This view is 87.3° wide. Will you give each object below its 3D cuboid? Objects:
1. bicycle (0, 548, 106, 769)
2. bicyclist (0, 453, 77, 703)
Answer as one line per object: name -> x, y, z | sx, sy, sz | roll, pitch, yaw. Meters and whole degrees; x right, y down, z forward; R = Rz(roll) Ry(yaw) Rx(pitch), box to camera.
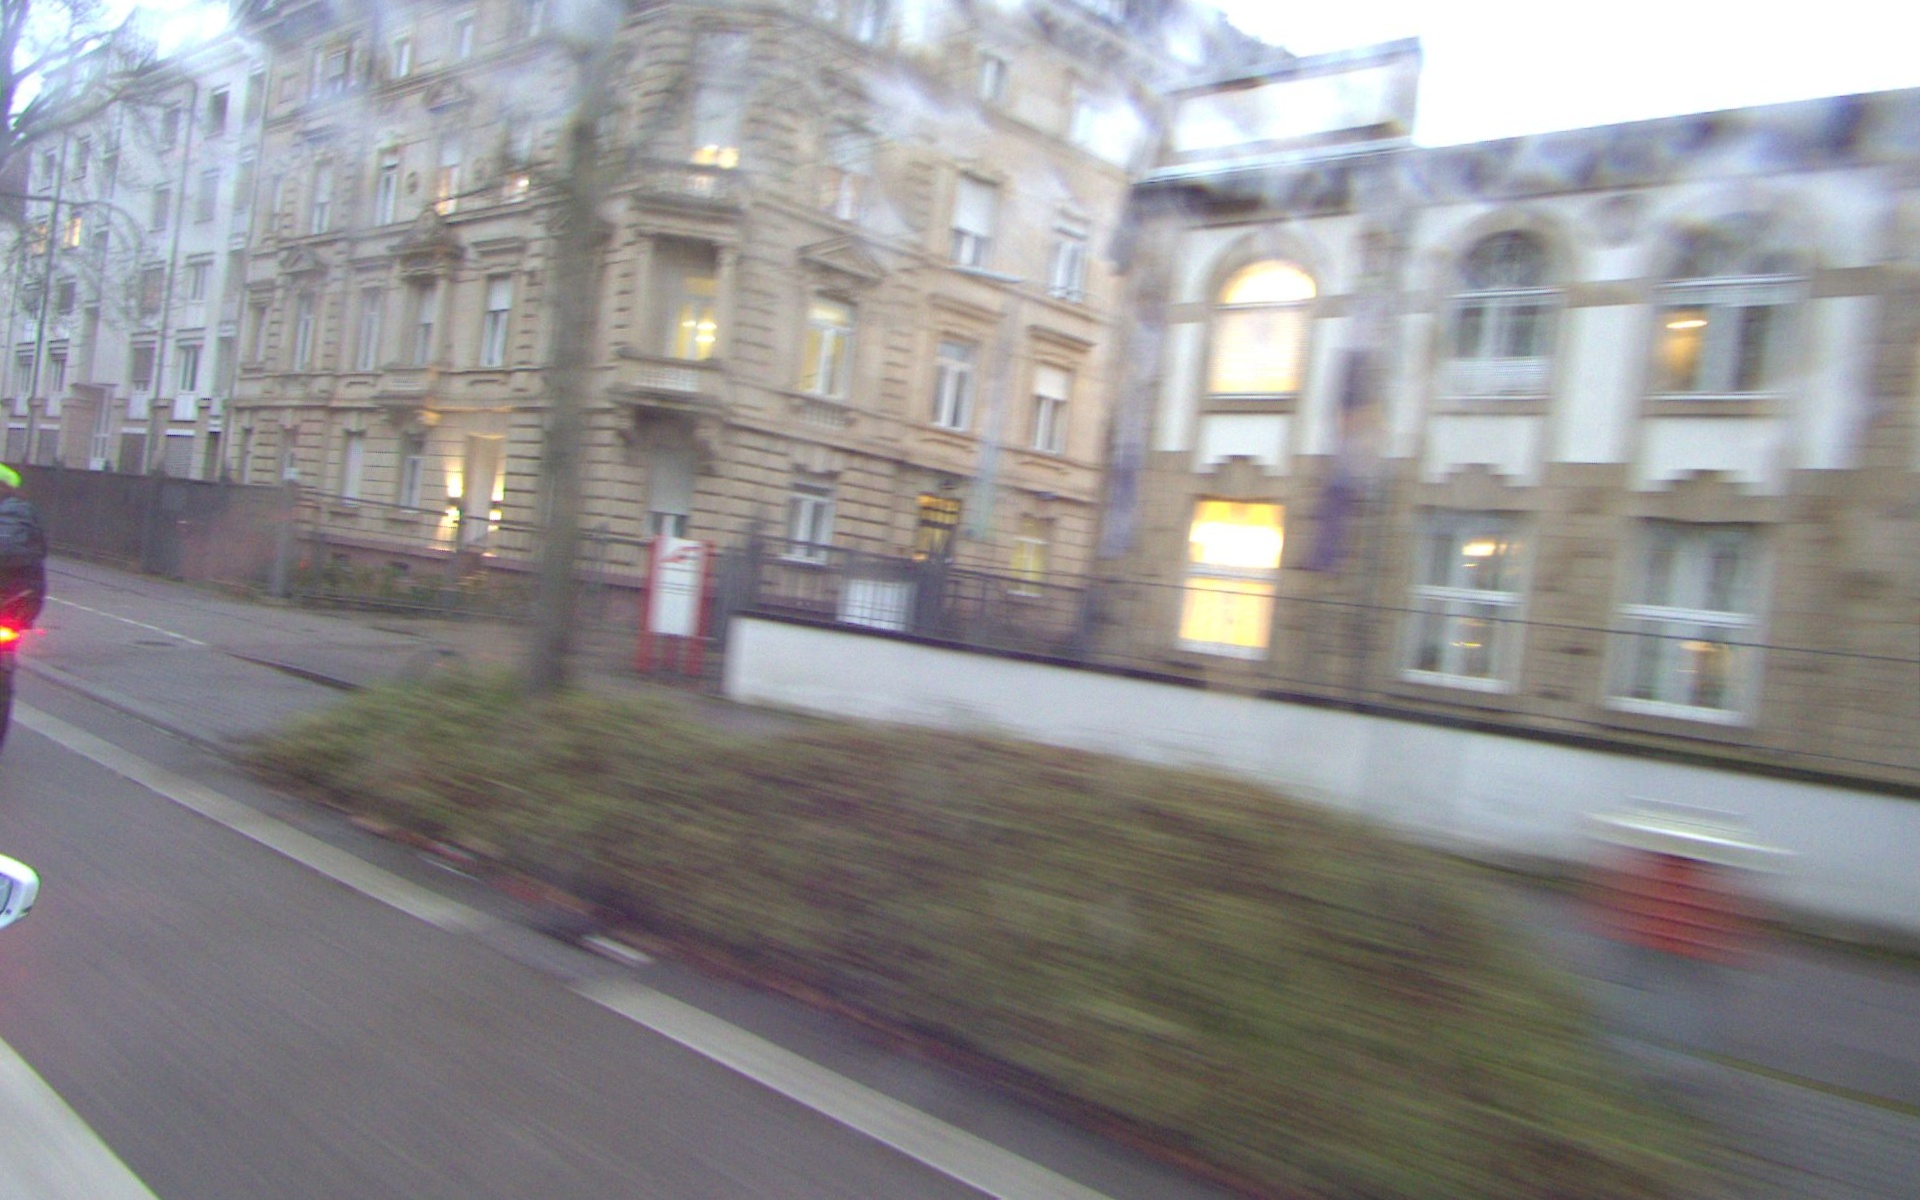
bicycle -> -6.066, 0.280, 6.168 | 1.997, 1.110, 0.707 | 8, 1, 35
bicyclist -> -5.985, -0.169, 6.105 | 0.836, 1.464, 0.656 | 8, 1, 35
